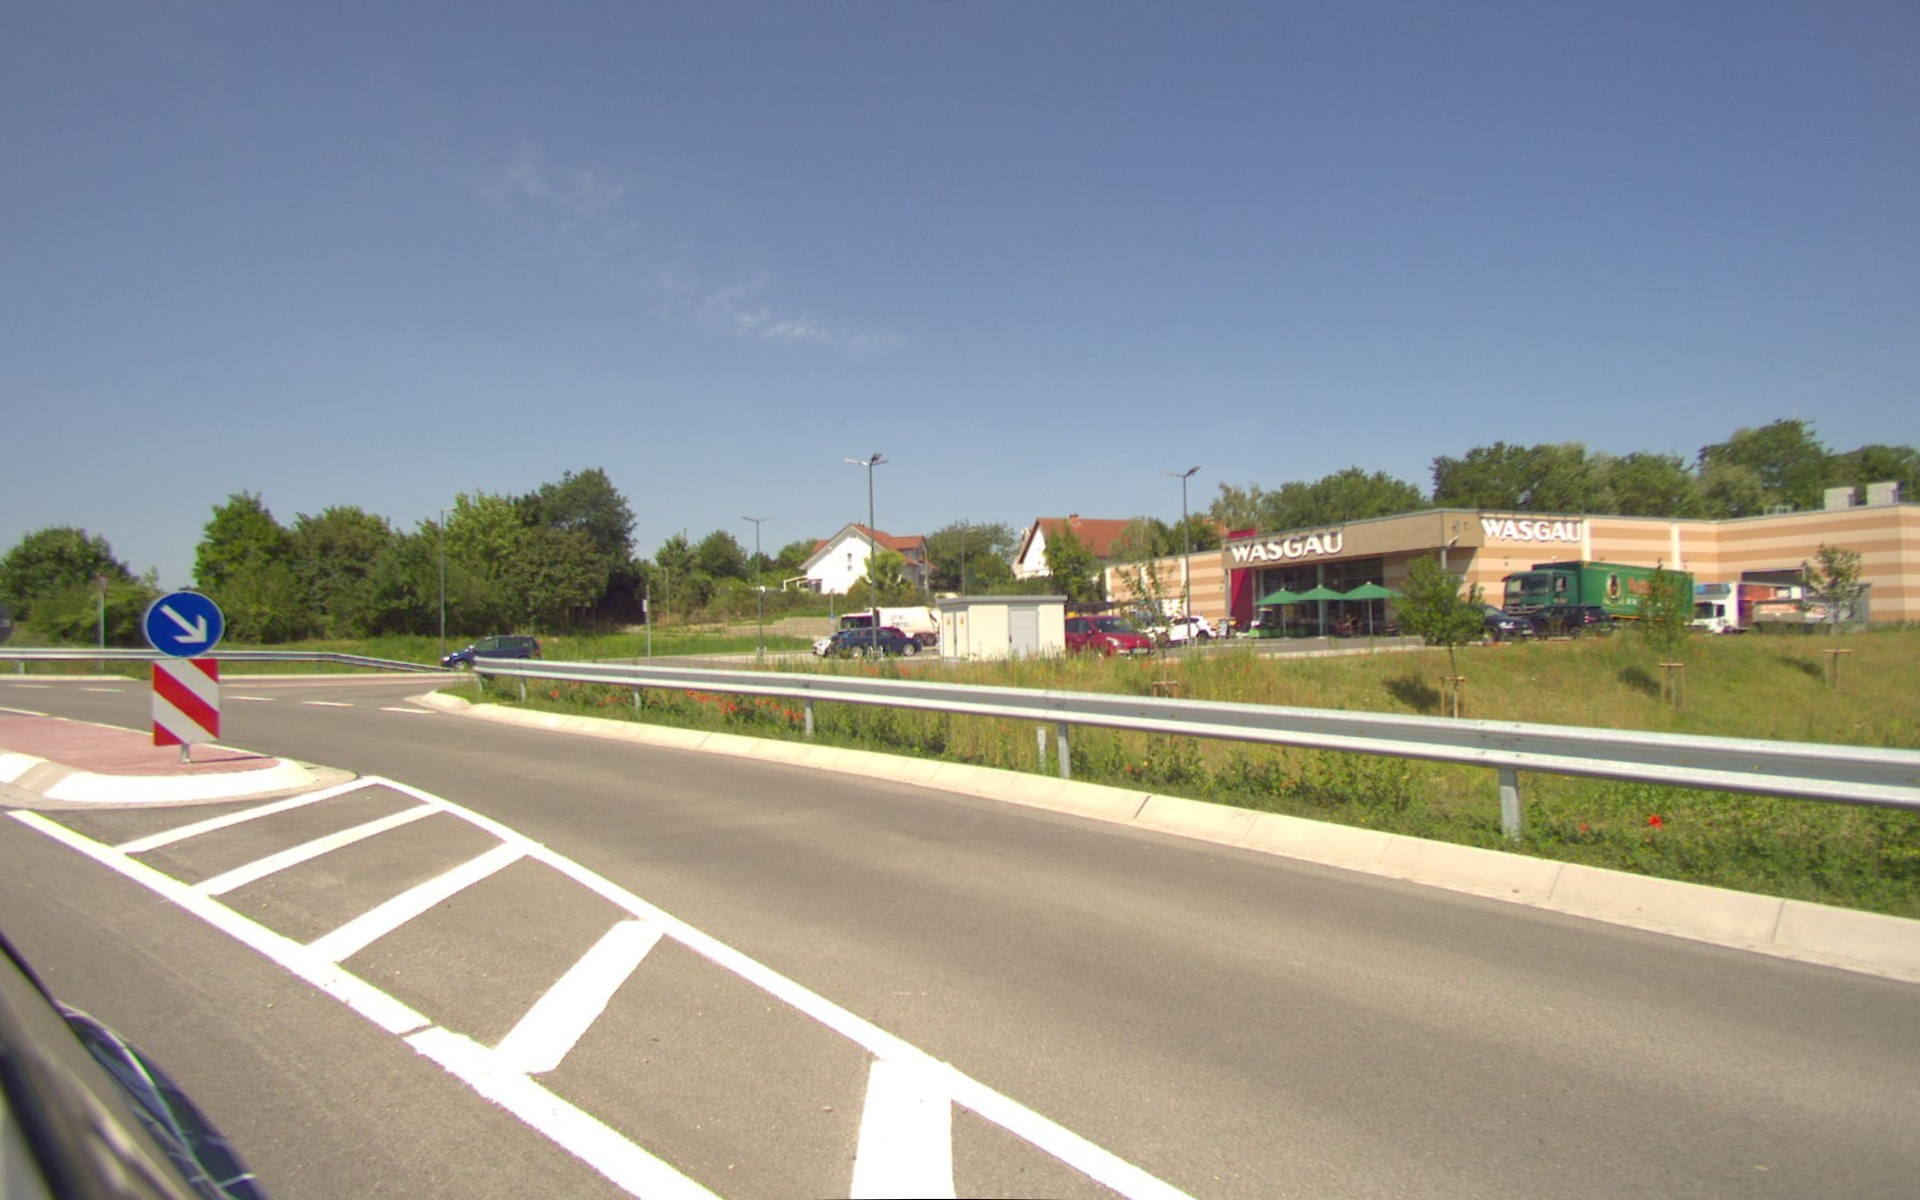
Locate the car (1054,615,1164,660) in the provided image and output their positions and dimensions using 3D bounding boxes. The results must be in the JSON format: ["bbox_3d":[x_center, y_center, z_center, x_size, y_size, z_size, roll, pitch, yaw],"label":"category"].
[{"bbox_3d":[4.620,1.137,31.846,1.596,1.299,3.685,-1,-1,-27],"label":"car"}]

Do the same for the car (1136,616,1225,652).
[{"bbox_3d":[11.793,1.788,54.133,4.258,1.717,2.007,-1,0,-25],"label":"car"}]

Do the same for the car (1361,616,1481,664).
[{"bbox_3d":[18.564,1.574,40.893,1.966,1.773,4.012,-1,-1,-29],"label":"car"}]

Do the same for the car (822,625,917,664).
[{"bbox_3d":[-4.469,2.159,50.006,4.258,1.717,2.007,-1,0,-22],"label":"car"}]

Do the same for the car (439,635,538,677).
[{"bbox_3d":[-22.002,2.570,47.270,4.124,1.717,2.007,-1,0,-26],"label":"car"}]

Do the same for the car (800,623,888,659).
[{"bbox_3d":[-6.250,2.181,54.601,4.258,1.717,2.006,-1,0,-28],"label":"car"}]

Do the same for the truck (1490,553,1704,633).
[{"bbox_3d":[29.625,-0.370,47.030,9.771,3.503,2.888,-1,0,-19],"label":"truck"}]

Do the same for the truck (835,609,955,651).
[{"bbox_3d":[-5.331,2.415,85.264,10.550,3.215,2.452,-1,0,-39],"label":"truck"}]

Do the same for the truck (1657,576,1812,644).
[{"bbox_3d":[43.352,0.504,56.590,8.728,3.591,2.888,-1,0,-23],"label":"truck"}]
